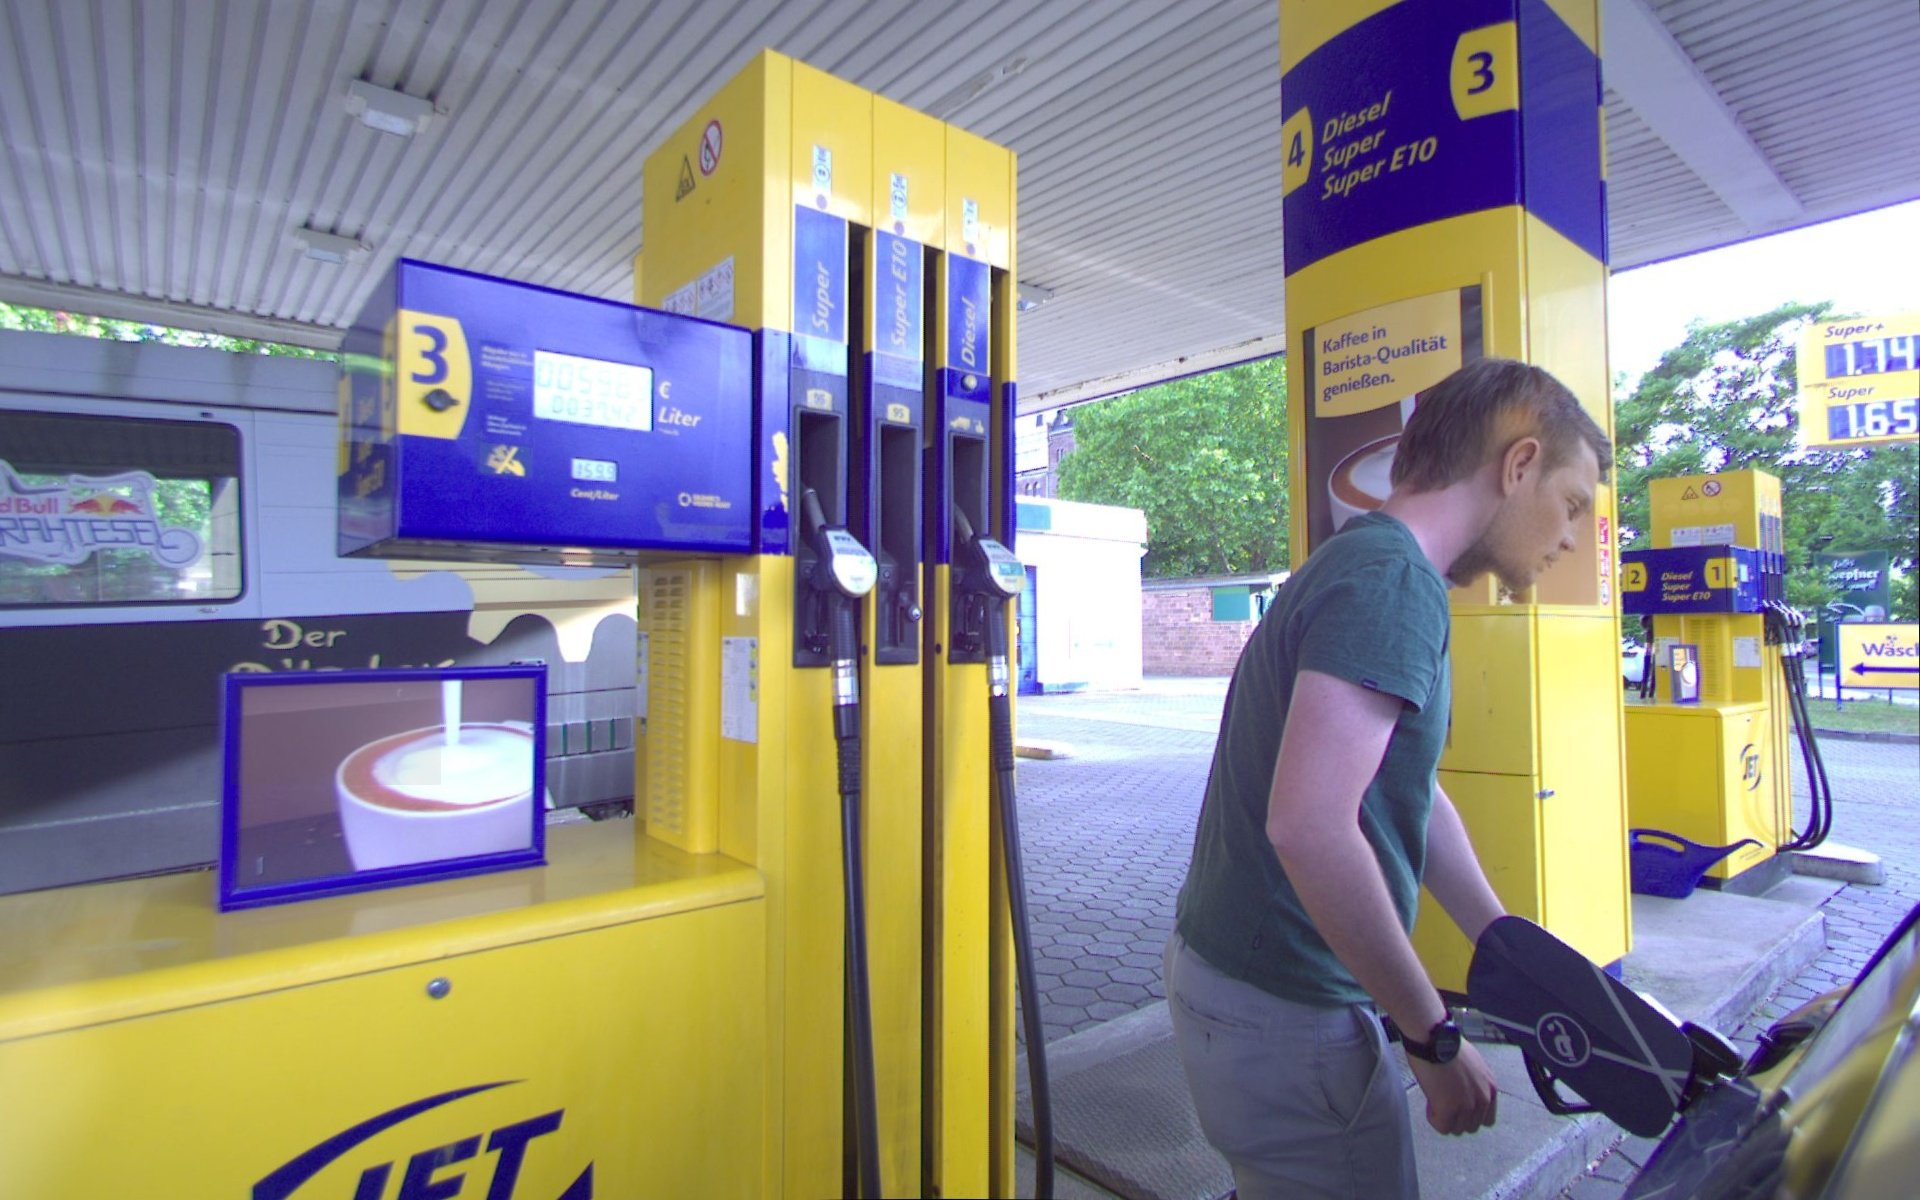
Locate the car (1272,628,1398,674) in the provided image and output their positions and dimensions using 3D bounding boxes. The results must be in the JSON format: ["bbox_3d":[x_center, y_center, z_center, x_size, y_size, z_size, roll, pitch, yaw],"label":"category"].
[{"bbox_3d":[12.641,1.701,34.048,4.112,1.453,1.826,2,-3,-31],"label":"car"}]

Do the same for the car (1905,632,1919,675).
[{"bbox_3d":[35.187,1.910,35.369,1.846,1.528,4.779,-3,-2,28],"label":"car"}]

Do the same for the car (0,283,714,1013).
[{"bbox_3d":[-4.100,0.190,4.871,5.248,2.760,2.201,0,-1,-39],"label":"car"}]

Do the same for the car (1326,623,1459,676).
[{"bbox_3d":[13.780,1.570,32.184,4.112,1.606,1.826,2,-3,-31],"label":"car"}]

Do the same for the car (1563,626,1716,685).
[{"bbox_3d":[18.252,1.487,27.150,4.112,1.478,1.826,2,-3,-31],"label":"car"}]

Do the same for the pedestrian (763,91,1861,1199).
[{"bbox_3d":[0.488,0.516,1.438,1.161,1.750,0.993,-2,1,-38],"label":"pedestrian"}]

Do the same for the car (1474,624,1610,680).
[{"bbox_3d":[17.769,1.579,30.866,4.112,1.606,1.826,2,-3,-31],"label":"car"}]
